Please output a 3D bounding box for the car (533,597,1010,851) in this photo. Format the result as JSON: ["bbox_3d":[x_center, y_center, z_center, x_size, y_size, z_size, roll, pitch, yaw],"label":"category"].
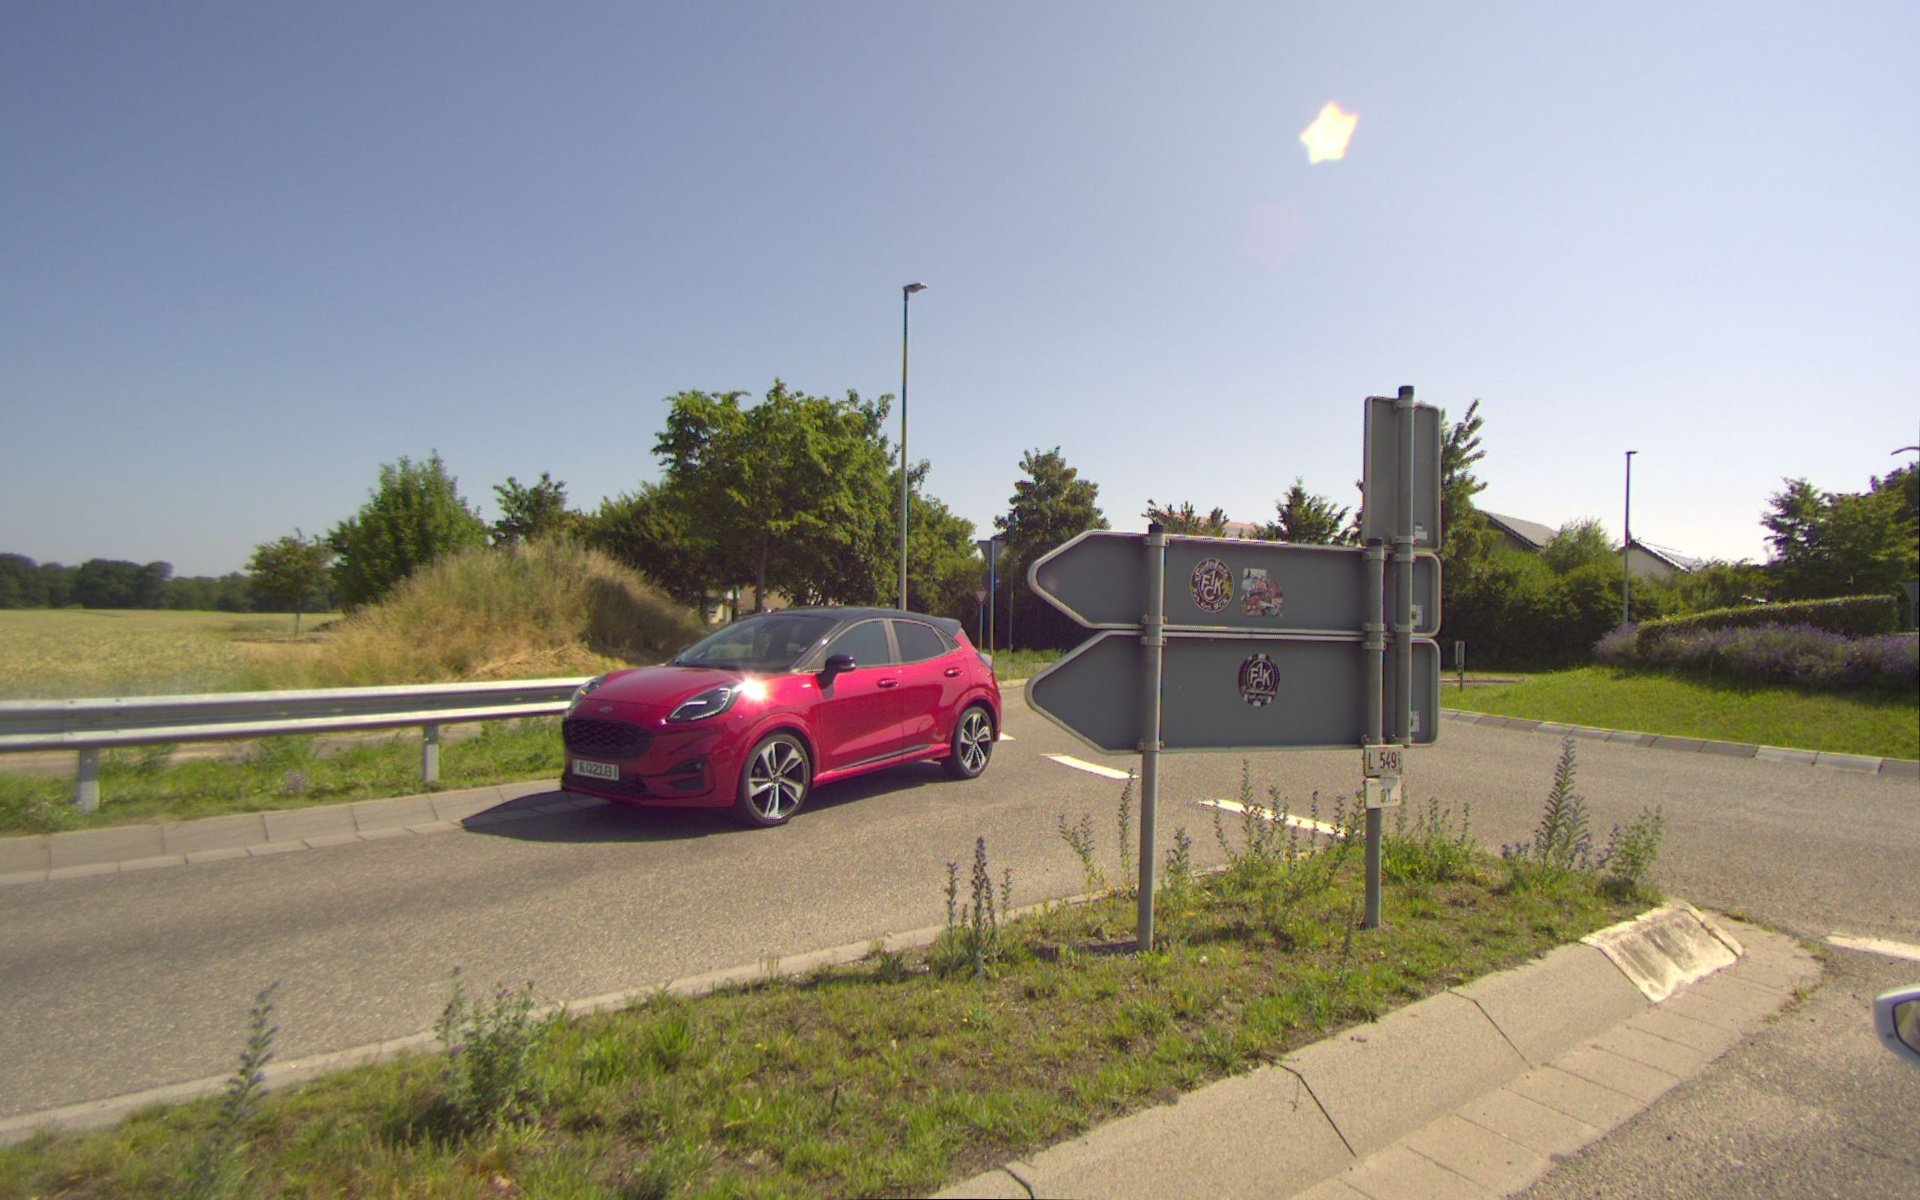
[{"bbox_3d":[-1.257,0.811,8.198,1.719,1.543,3.822,-1,-2,31],"label":"car"}]
